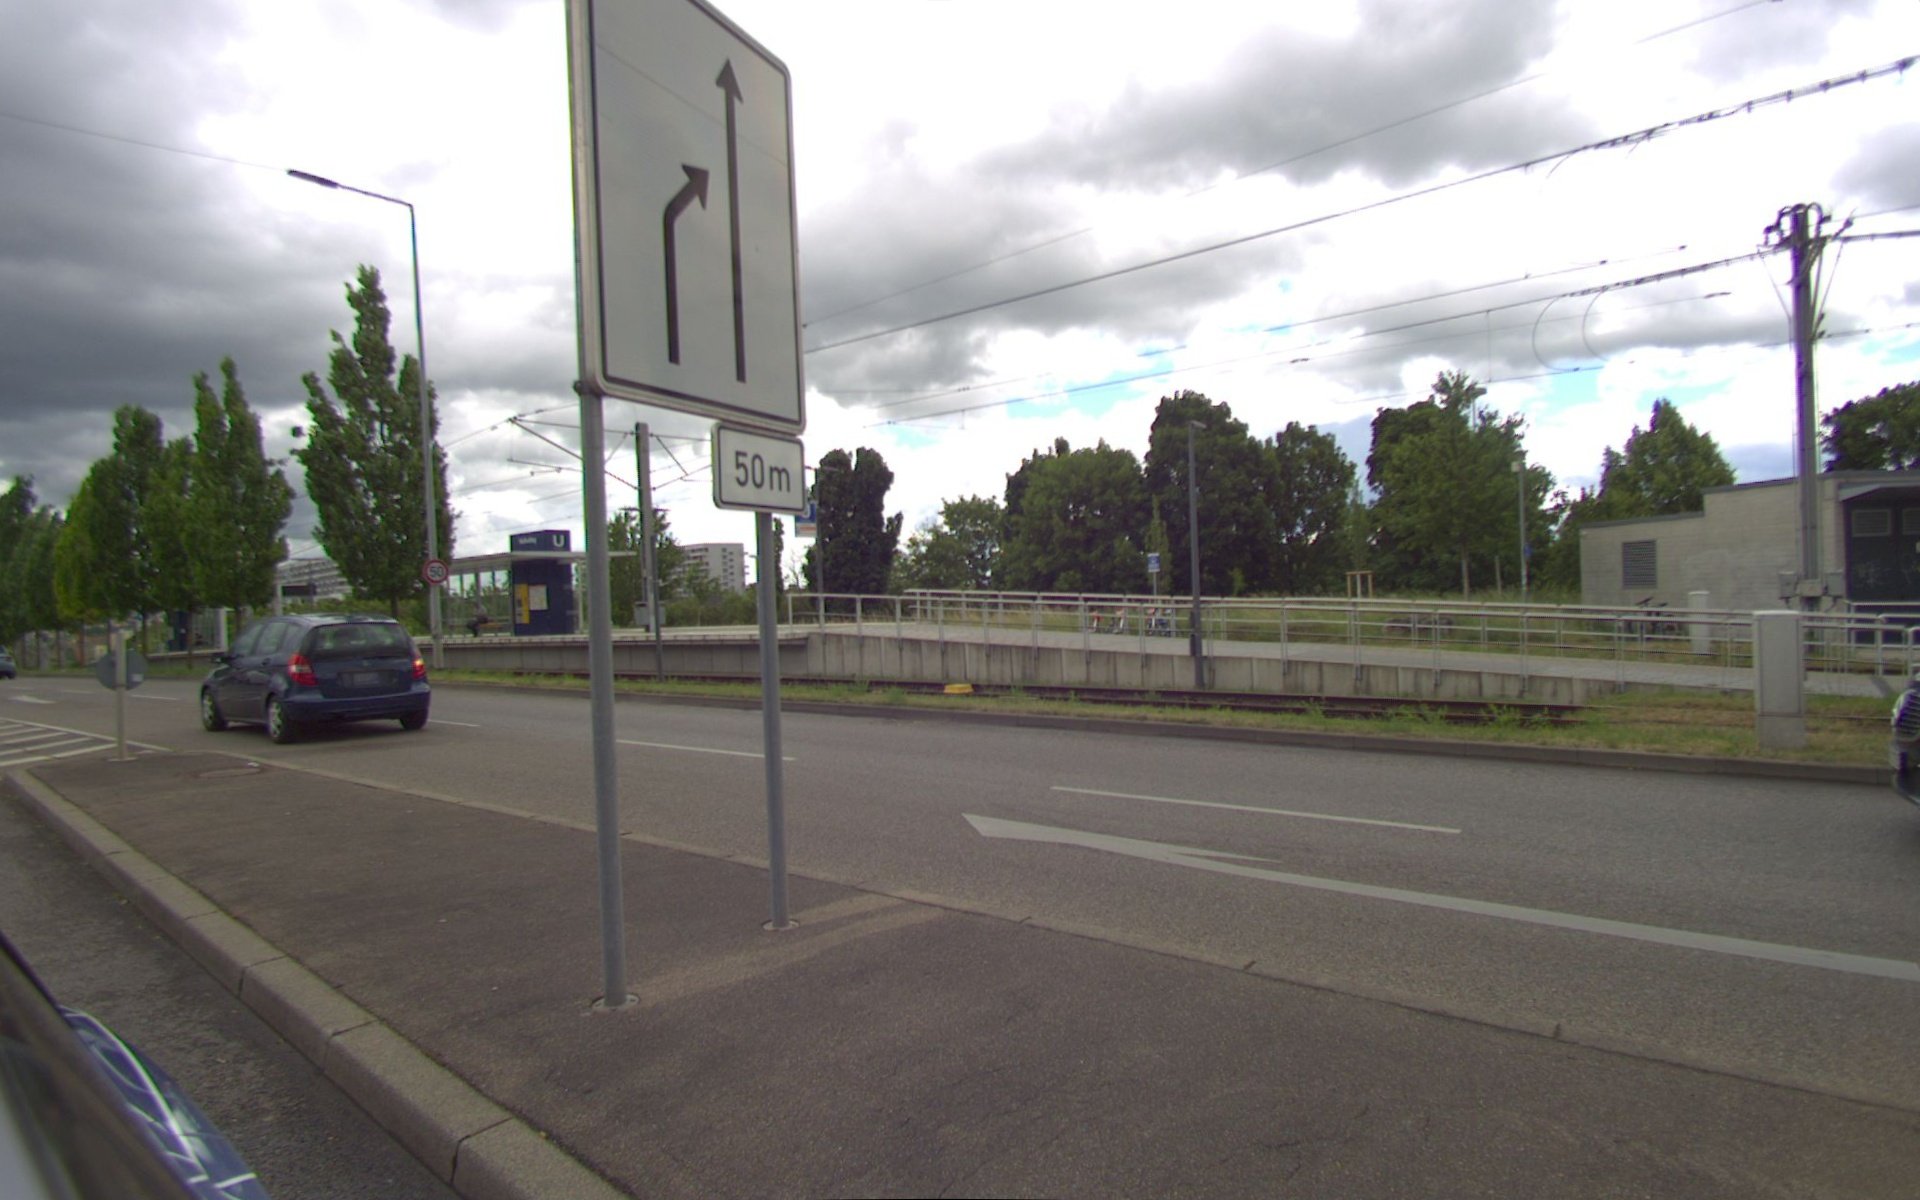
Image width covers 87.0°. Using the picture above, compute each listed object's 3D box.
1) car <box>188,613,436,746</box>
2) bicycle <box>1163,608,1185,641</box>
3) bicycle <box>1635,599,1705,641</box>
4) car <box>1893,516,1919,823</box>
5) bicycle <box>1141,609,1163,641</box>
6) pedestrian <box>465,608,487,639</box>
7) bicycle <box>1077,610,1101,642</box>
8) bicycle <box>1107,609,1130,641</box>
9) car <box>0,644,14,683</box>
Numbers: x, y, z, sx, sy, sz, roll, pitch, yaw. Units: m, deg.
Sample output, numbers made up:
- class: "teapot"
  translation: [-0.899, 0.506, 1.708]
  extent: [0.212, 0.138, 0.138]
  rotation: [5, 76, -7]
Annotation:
- class: "car"
  translation: [-8.799, 0.984, 13.654]
  extent: [3.655, 1.520, 1.719]
  rotation: [-2, -1, 38]
- class: "bicycle"
  translation: [7.134, 0.800, 33.706]
  extent: [0.531, 1.039, 1.804]
  rotation: [-1, 0, 16]
- class: "bicycle"
  translation: [18.274, 0.505, 26.097]
  extent: [0.529, 1.039, 1.813]
  rotation: [-1, 0, 1]
- class: "car"
  translation: [7.647, 0.379, 4.374]
  extent: [5.083, 1.826, 1.870]
  rotation: [-1, -1, 37]
- class: "bicycle"
  translation: [6.448, 0.820, 33.987]
  extent: [0.531, 1.039, 1.804]
  rotation: [-1, 0, 16]
- class: "pedestrian"
  translation: [-18.160, 0.872, 37.984]
  extent: [0.447, 1.163, 0.593]
  rotation: [-1, 0, 41]
- class: "bicycle"
  translation: [4.433, 0.876, 34.777]
  extent: [0.531, 1.039, 1.804]
  rotation: [-1, 0, 16]
- class: "bicycle"
  translation: [5.392, 0.848, 34.440]
  extent: [0.531, 1.039, 1.804]
  rotation: [-1, 0, 16]
- class: "car"
  translation: [-40.849, 2.656, 42.045]
  extent: [3.596, 1.540, 1.740]
  rotation: [-1, 0, 38]
